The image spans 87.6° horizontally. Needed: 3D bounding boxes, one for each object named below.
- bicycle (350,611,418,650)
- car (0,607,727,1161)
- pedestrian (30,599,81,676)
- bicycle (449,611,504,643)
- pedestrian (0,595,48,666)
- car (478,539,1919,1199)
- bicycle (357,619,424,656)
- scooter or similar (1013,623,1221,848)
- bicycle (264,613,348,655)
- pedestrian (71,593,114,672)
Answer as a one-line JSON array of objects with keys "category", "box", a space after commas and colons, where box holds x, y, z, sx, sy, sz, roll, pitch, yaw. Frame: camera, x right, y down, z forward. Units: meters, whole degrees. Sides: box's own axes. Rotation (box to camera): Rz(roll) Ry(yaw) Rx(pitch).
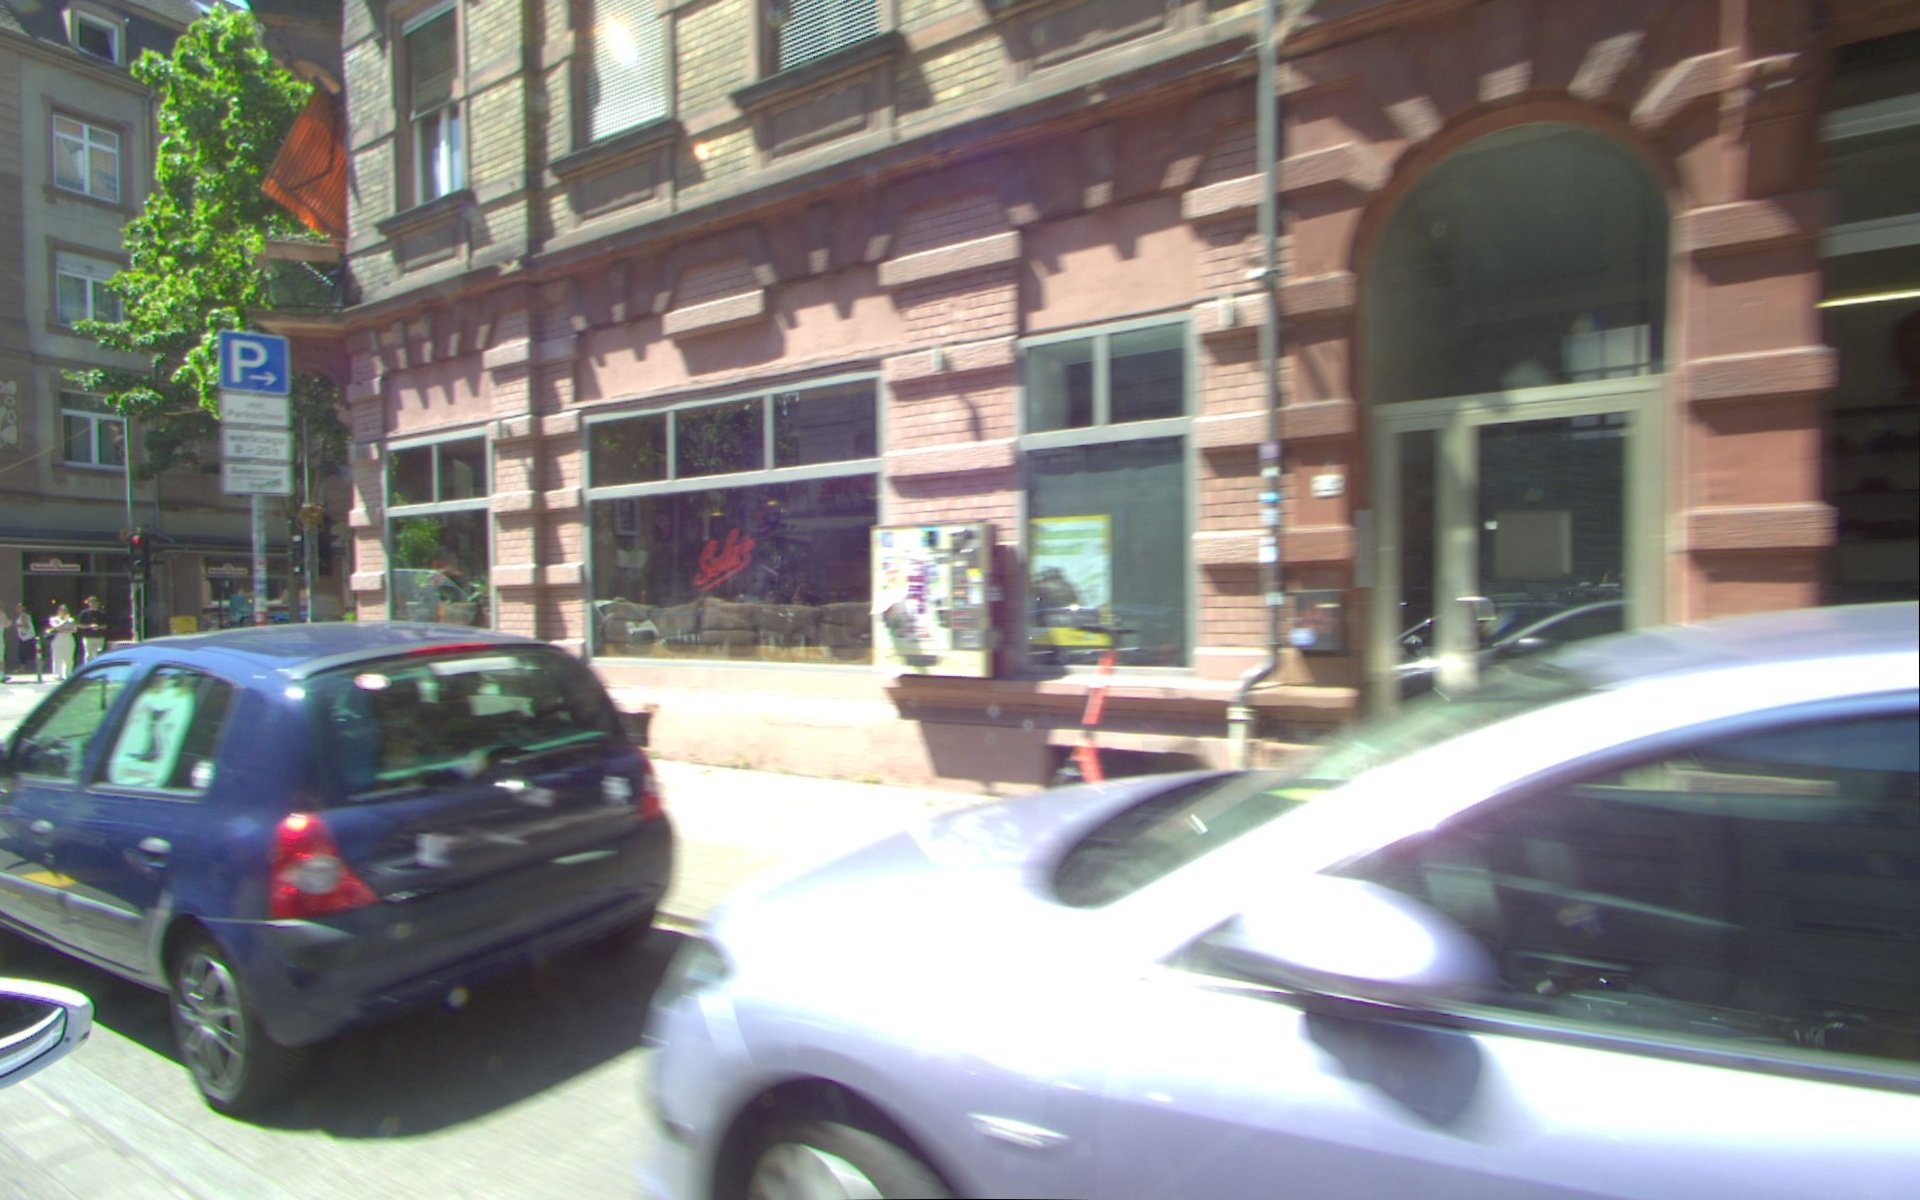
[{"category": "bicycle", "box": [-17.124, 0.896, 29.804, 0.463, 1.095, 1.758, 2, 1, 28]}, {"category": "car", "box": [-2.918, 0.785, 4.300, 3.606, 1.451, 1.624, -1, 1, 31]}, {"category": "pedestrian", "box": [-20.320, 0.835, 22.497, 0.415, 1.669, 0.701, 3, 4, 24]}, {"category": "bicycle", "box": [-16.245, 0.907, 33.675, 0.497, 1.010, 1.722, 2, 1, 28]}, {"category": "pedestrian", "box": [-22.314, 0.713, 23.826, 0.635, 1.645, 0.798, 0, 1, 37]}, {"category": "car", "box": [1.390, 0.654, 1.600, 4.419, 1.451, 1.722, -1, 1, 31]}, {"category": "bicycle", "box": [-16.813, 1.090, 29.596, 0.463, 1.010, 1.758, 2, 1, 28]}, {"category": "scooter or similar", "box": [0.889, 0.737, 5.889, 1.257, 1.192, 0.291, 0, 0, 42]}, {"category": "bicycle", "box": [-18.895, 0.967, 28.955, 1.965, 1.147, 0.512, 0, 1, -41]}, {"category": "pedestrian", "box": [-20.134, 0.743, 23.235, 0.463, 1.794, 0.575, 3, 4, 24]}]
